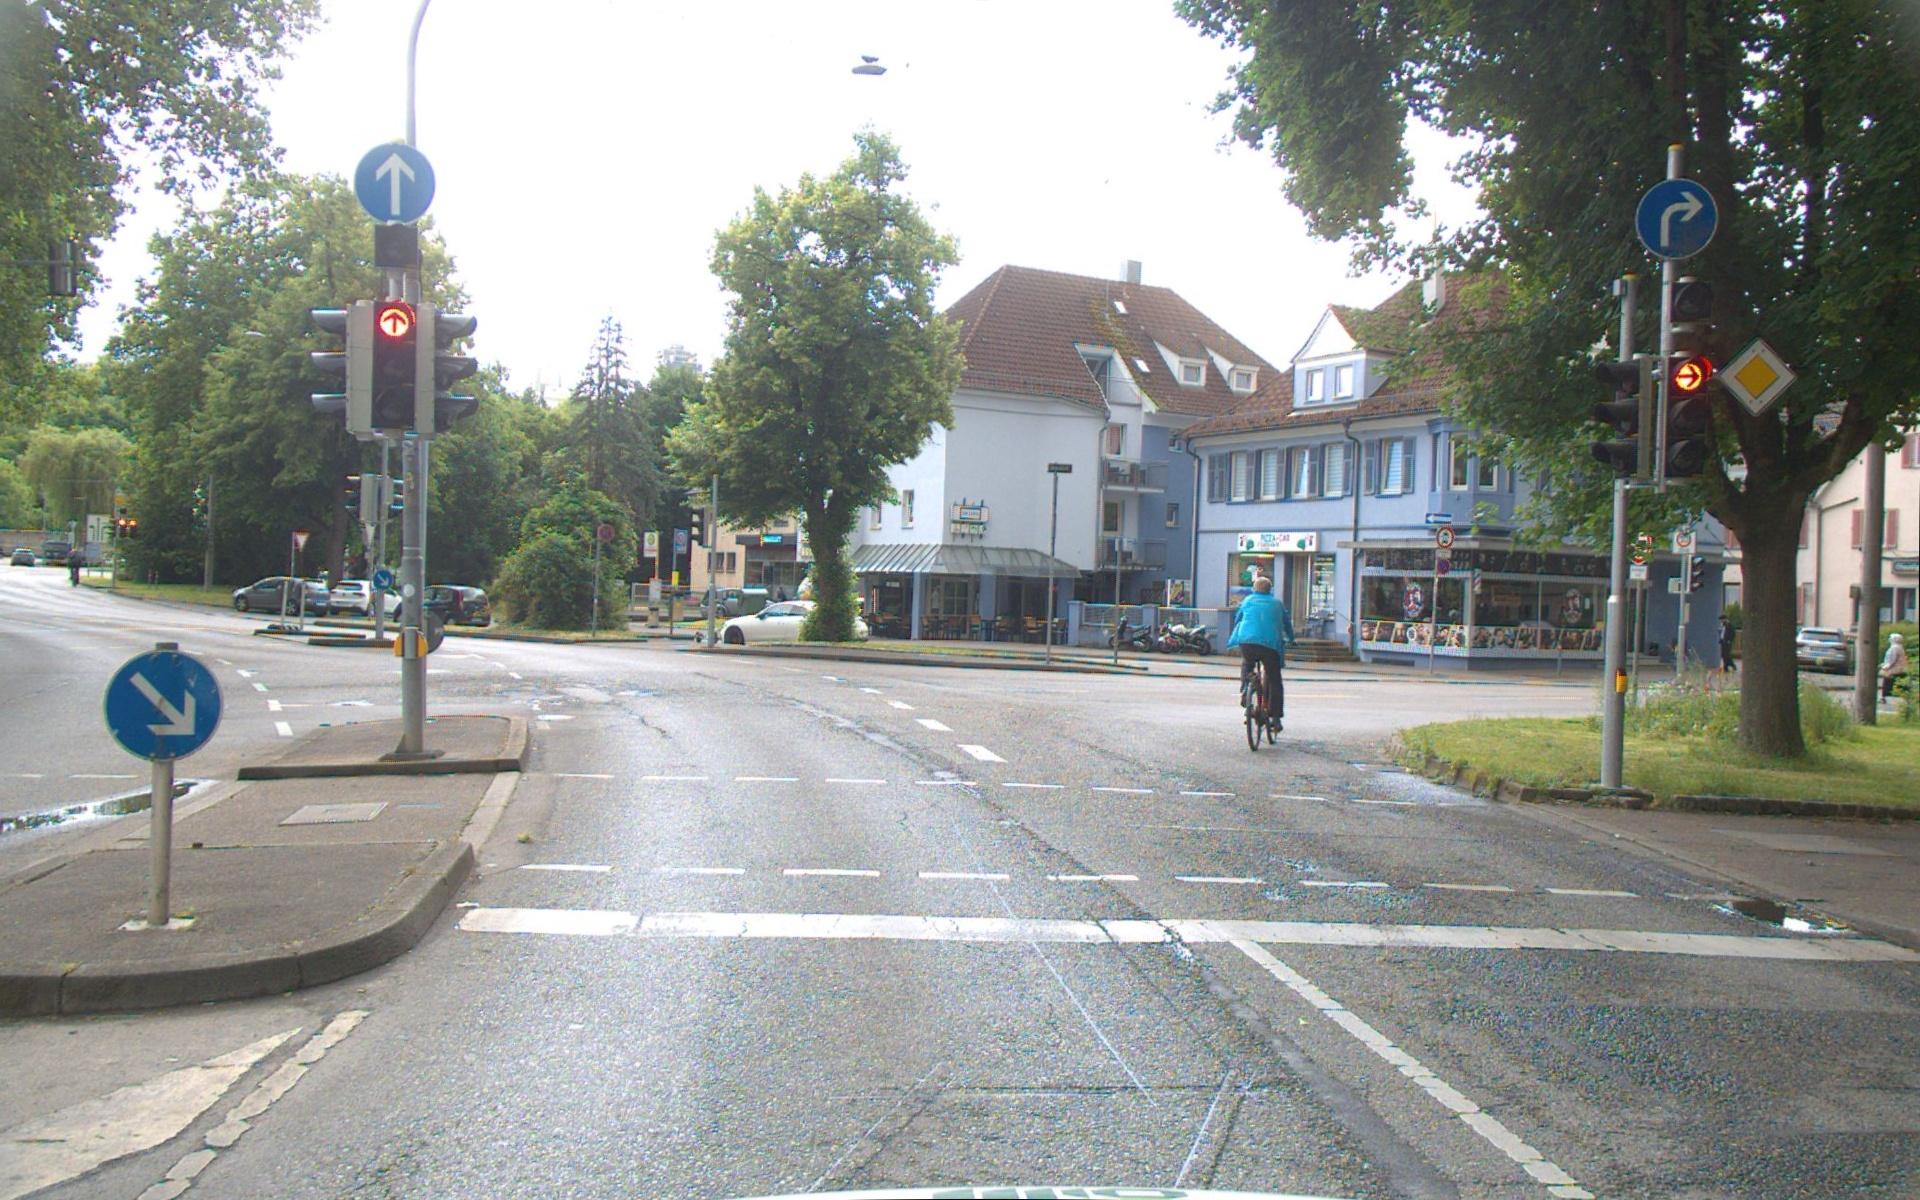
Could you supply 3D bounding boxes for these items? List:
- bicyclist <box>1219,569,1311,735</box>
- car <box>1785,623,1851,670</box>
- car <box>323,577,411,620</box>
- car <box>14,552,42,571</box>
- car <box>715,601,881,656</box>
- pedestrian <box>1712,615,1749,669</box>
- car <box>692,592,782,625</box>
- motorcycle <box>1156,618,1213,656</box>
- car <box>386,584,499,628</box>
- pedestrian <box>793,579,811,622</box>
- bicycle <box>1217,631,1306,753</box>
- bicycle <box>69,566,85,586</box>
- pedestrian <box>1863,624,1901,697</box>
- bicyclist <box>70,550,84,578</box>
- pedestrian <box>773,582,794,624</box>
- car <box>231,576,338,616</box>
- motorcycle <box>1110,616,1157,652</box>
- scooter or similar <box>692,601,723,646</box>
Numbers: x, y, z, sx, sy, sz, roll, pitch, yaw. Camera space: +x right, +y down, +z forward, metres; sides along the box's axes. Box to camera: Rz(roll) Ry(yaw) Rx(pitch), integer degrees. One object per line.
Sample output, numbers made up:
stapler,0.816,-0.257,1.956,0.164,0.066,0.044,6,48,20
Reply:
bicyclist,3.238,0.535,17.516,0.895,1.680,0.989,1,0,12
car,28.376,1.513,54.748,1.848,1.415,3.610,1,0,27
car,-24.391,-0.070,68.172,1.821,1.668,3.757,1,0,9
car,-84.903,-3.505,150.625,1.976,1.624,3.954,1,-1,-33
car,-4.712,0.808,47.932,4.616,1.435,1.897,1,0,33
pedestrian,23.001,1.247,49.362,0.660,1.587,0.743,1,-1,-17
car,-10.451,0.395,77.590,3.882,1.467,1.741,1,0,-22
motorcycle,6.922,1.137,50.994,1.595,1.107,0.626,1,0,30
car,-17.267,0.182,55.205,3.251,1.376,1.779,1,0,25
pedestrian,-5.861,0.012,61.299,0.531,1.587,0.468,1,-1,12
bicycle,3.225,0.944,17.609,0.855,1.169,1.954,1,0,11
bicycle,-43.591,-1.198,81.674,0.551,0.975,2.011,1,0,-32
pedestrian,20.482,1.332,36.750,0.717,1.587,0.767,1,-1,29
bicyclist,-43.616,-1.797,81.709,0.535,1.365,0.706,1,0,-33
pedestrian,-8.868,0.145,83.032,0.824,2.049,1.051,1,0,-16
car,-26.596,-0.169,65.135,3.694,1.491,1.622,1,0,17
motorcycle,5.528,1.076,52.710,1.429,1.107,0.522,1,0,34
scooter or similar,-6.806,0.625,44.706,0.433,1.195,1.439,1,0,7
